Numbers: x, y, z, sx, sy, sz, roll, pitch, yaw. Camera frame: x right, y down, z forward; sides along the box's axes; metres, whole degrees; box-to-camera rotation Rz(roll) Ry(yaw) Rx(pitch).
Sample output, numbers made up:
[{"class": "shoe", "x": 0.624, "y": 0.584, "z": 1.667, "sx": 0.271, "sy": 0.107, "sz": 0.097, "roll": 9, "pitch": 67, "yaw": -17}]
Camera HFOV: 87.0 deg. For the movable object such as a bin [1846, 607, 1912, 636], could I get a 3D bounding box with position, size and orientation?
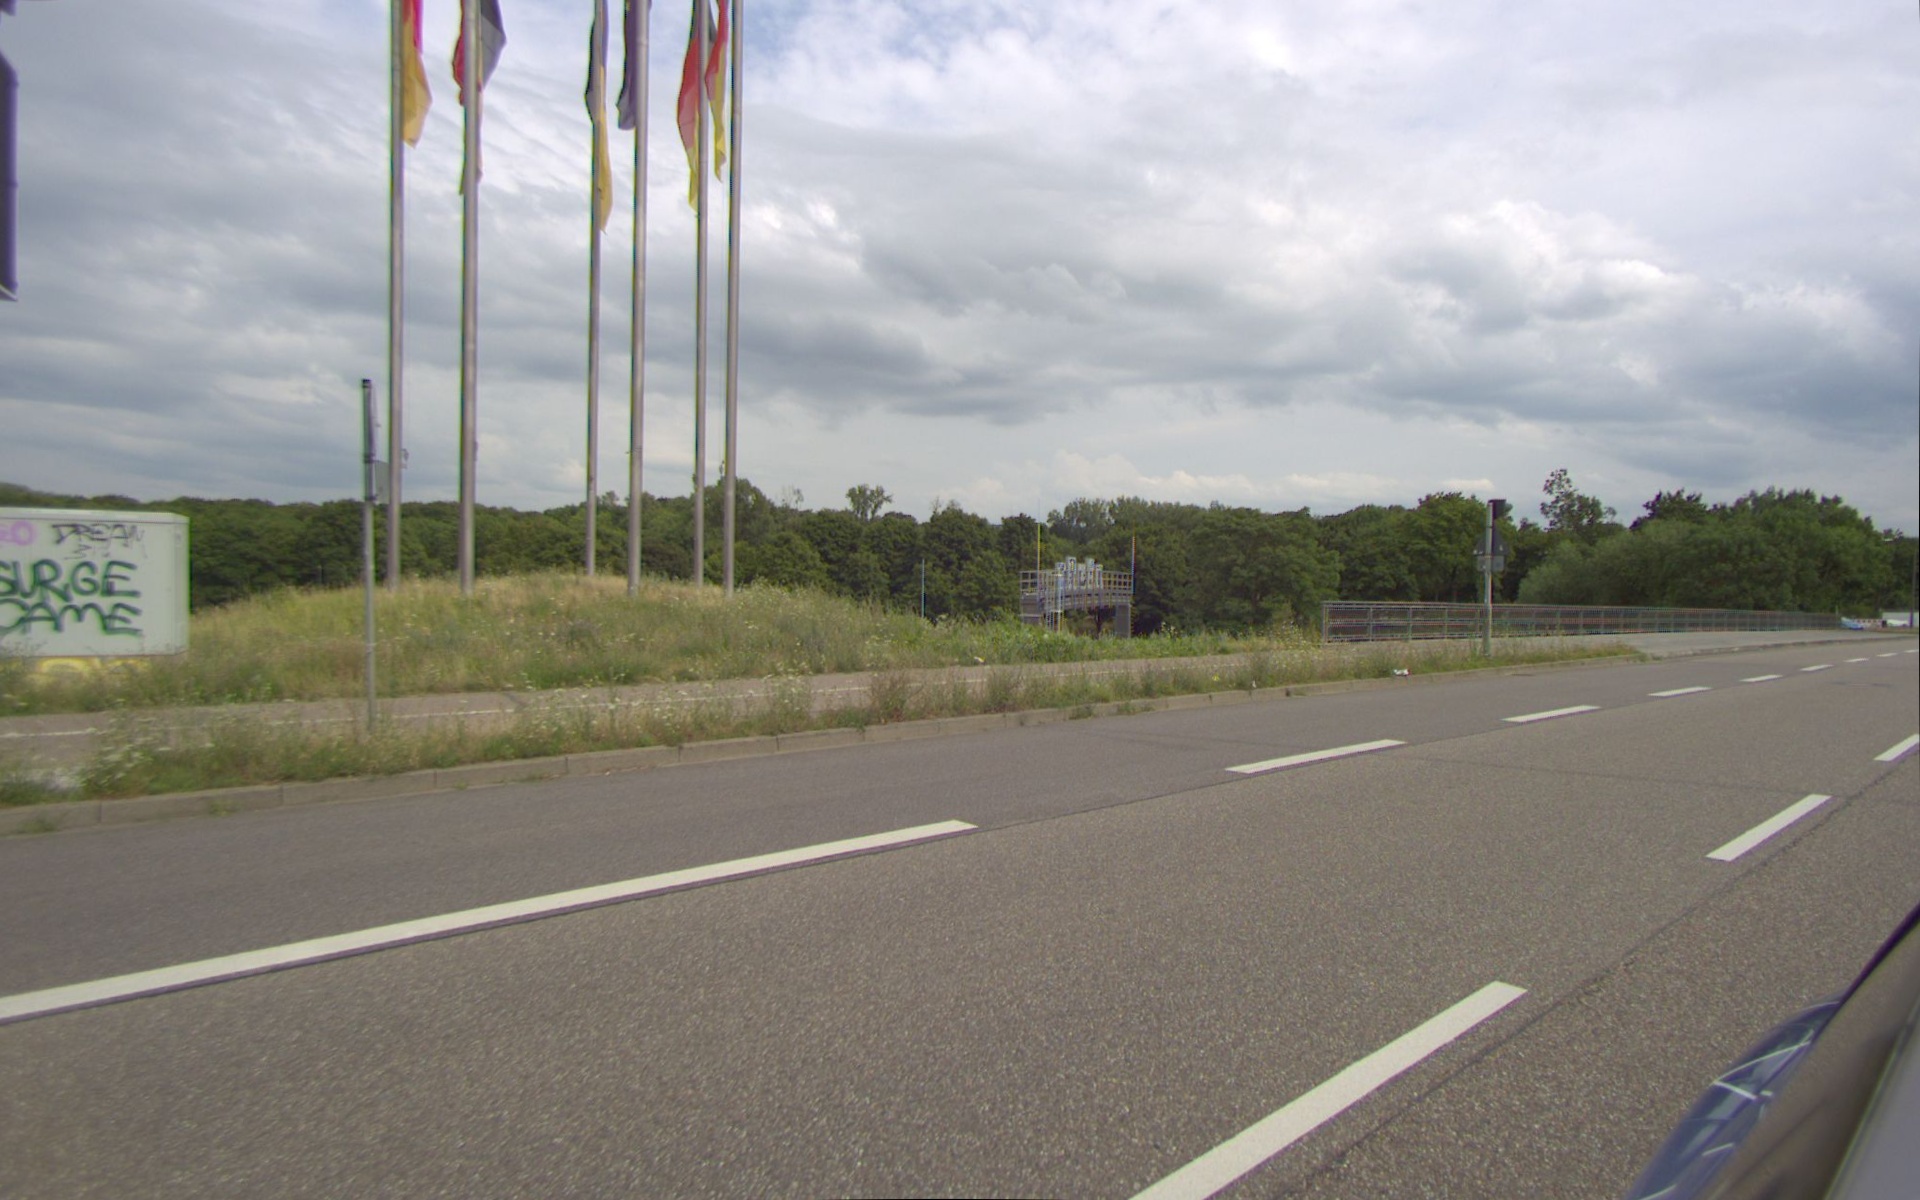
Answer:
[{"class": "movable object such as a bin", "x": 90.376, "y": 2.121, "z": 99.541, "sx": 2.062, "sy": 2.723, "sz": 4.515, "roll": 1, "pitch": 0, "yaw": -36}]
